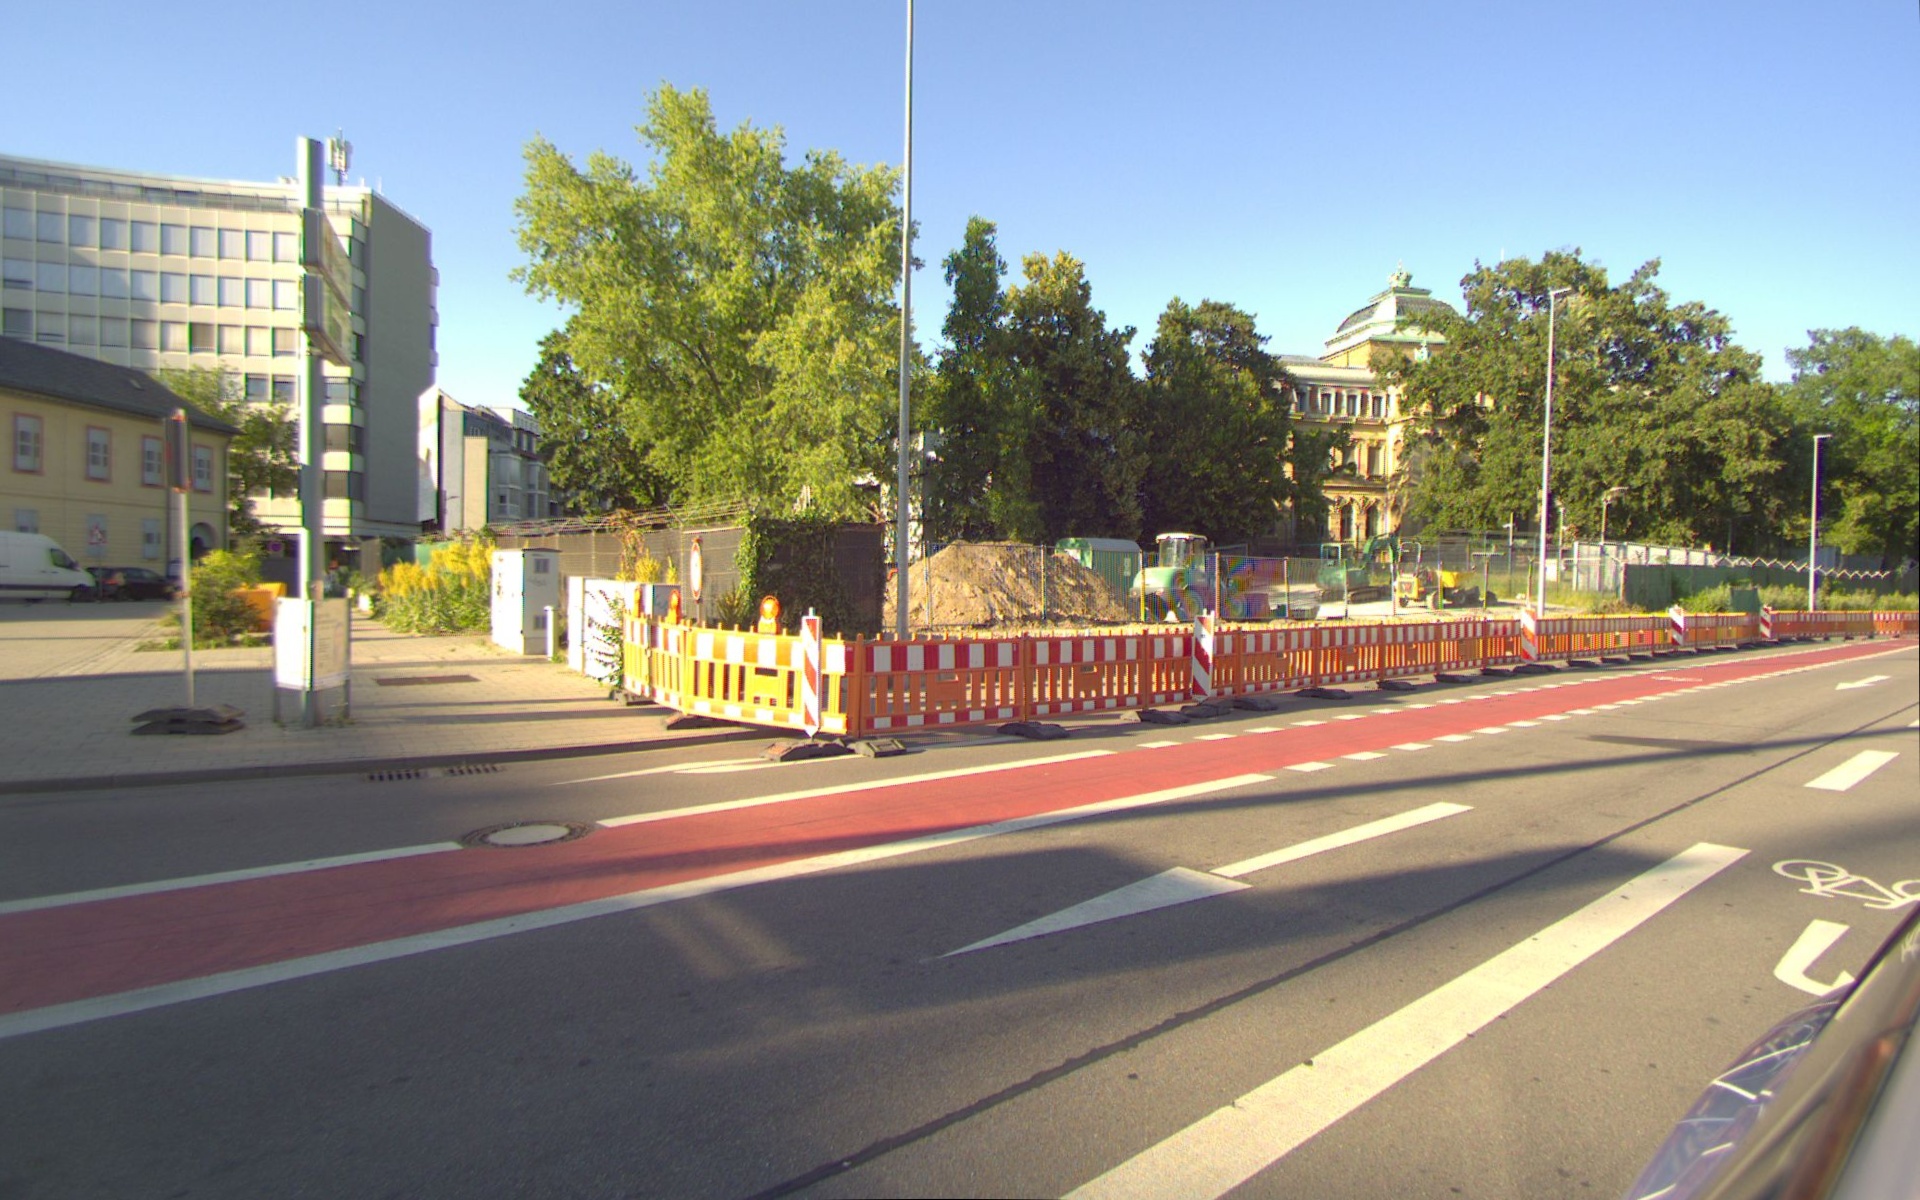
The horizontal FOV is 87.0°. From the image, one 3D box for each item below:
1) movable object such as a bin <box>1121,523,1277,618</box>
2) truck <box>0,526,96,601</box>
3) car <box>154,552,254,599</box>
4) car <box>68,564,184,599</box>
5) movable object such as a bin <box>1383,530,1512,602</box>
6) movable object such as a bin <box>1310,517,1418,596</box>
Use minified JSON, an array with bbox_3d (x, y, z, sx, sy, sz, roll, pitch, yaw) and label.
[{"bbox_3d":[7.435,-0.877,31.294,4.920,2.717,1.999,-1,0,-36],"label":"movable object such as a bin"},{"bbox_3d":[-34.319,-1.259,36.056,2.258,2.581,5.638,0,0,1],"label":"truck"},{"bbox_3d":[-34.400,-1.089,46.169,1.682,2.005,3.761,0,0,1],"label":"car"},{"bbox_3d":[-34.345,-0.736,41.815,1.682,1.382,3.761,0,0,1],"label":"car"},{"bbox_3d":[20.422,-1.367,42.355,5.750,2.852,2.002,-1,0,-30],"label":"movable object such as a bin"},{"bbox_3d":[18.154,-1.872,45.375,5.274,3.371,1.999,-1,0,-36],"label":"movable object such as a bin"}]
